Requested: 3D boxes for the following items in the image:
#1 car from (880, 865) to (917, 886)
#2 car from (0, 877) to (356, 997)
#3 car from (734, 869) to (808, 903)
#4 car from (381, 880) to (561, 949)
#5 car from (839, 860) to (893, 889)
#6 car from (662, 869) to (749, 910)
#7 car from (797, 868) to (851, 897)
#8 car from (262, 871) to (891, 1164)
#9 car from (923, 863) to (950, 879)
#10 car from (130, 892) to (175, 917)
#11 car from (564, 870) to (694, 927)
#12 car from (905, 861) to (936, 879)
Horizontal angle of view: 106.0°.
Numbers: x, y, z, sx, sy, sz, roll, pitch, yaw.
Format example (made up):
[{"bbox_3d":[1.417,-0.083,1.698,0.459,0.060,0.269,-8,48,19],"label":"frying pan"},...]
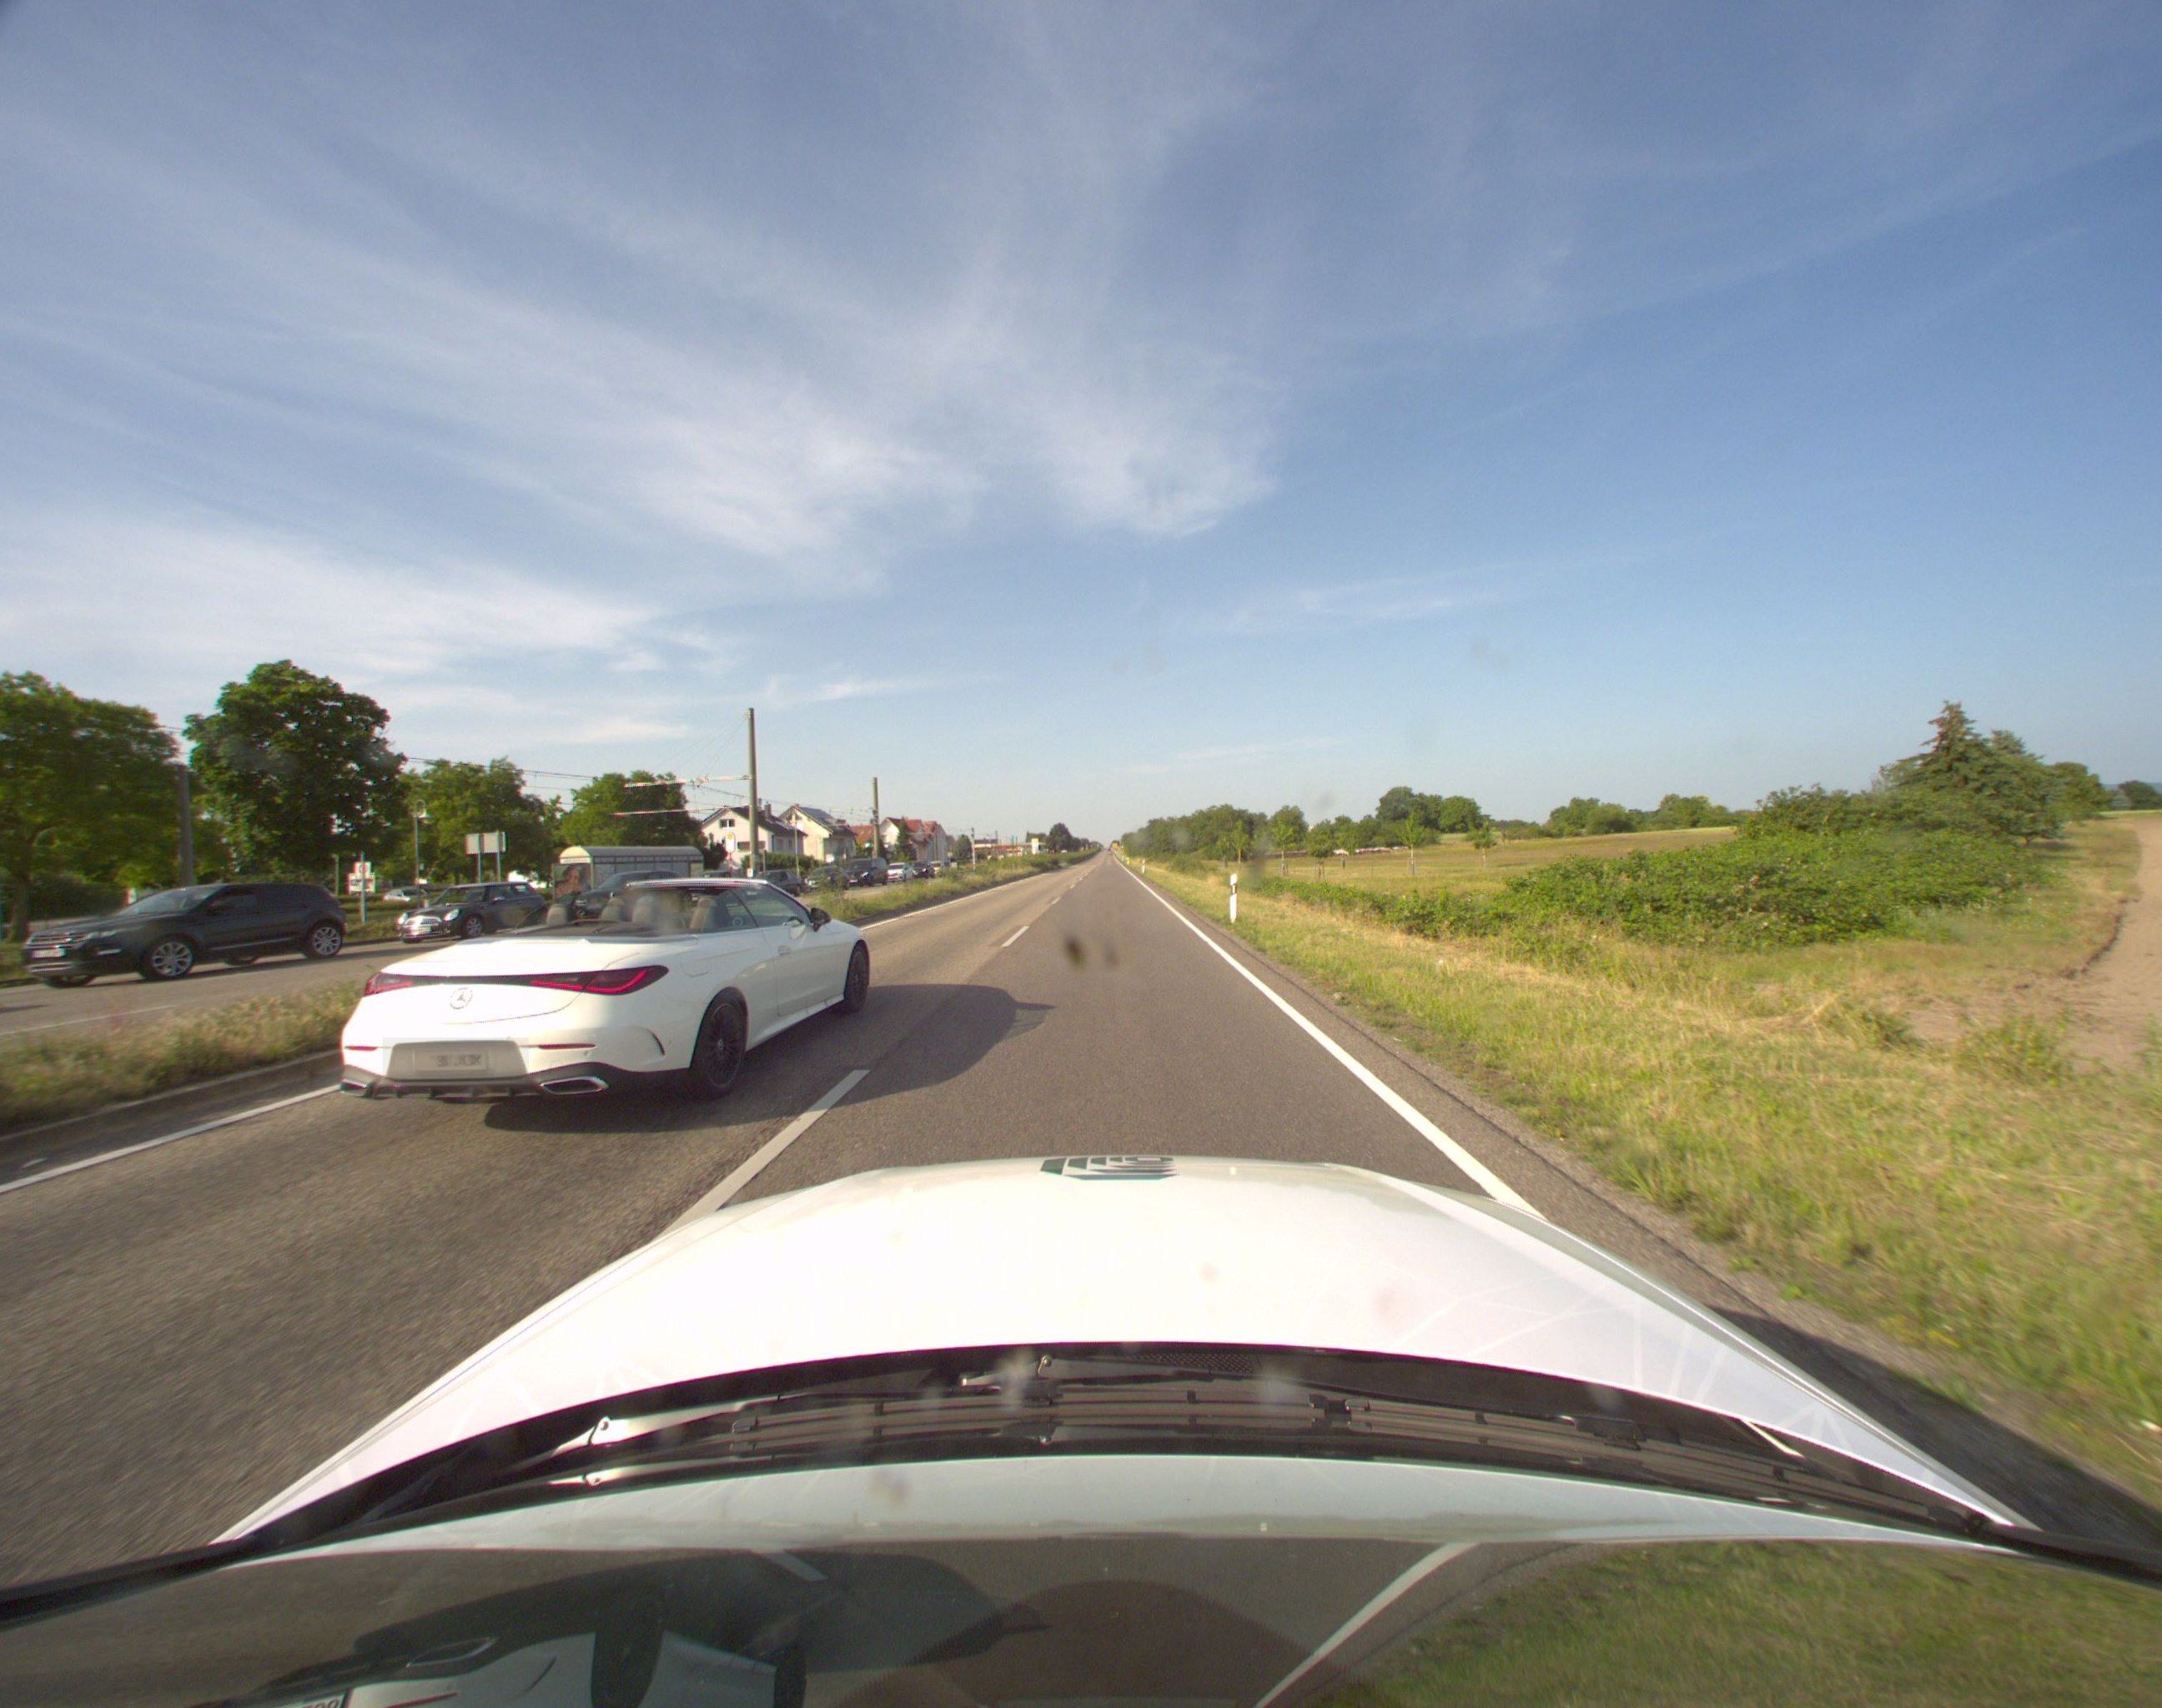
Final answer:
[{"bbox_3d":[-13.993,1.607,62.722,1.654,1.431,4.450,-4,0,2],"label":"car"},{"bbox_3d":[-16.081,1.364,14.910,1.654,1.687,4.230,-4,0,2],"label":"car"},{"bbox_3d":[-15.262,1.545,40.390,1.654,1.431,4.719,-4,0,2],"label":"car"},{"bbox_3d":[-15.708,1.488,21.240,1.654,1.431,3.806,-4,0,2],"label":"car"},{"bbox_3d":[-14.273,1.344,54.372,1.908,1.683,5.256,-4,0,2],"label":"car"},{"bbox_3d":[-15.445,1.409,33.677,1.654,1.431,3.806,-4,0,2],"label":"car"},{"bbox_3d":[-14.807,1.606,47.117,1.654,1.431,4.058,-4,0,2],"label":"car"},{"bbox_3d":[-3.064,0.856,6.478,1.764,1.337,4.953,0,0,2],"label":"car"},{"bbox_3d":[-13.897,1.625,78.519,1.654,1.431,4.328,-4,0,2],"label":"car"},{"bbox_3d":[-61.070,3.313,53.550,3.575,1.366,1.746,-5,-1,39],"label":"car"},{"bbox_3d":[-15.107,1.424,27.517,1.654,1.562,4.547,-4,0,2],"label":"car"},{"bbox_3d":[-13.906,1.362,70.672,1.654,1.431,4.328,-4,0,2],"label":"car"}]
